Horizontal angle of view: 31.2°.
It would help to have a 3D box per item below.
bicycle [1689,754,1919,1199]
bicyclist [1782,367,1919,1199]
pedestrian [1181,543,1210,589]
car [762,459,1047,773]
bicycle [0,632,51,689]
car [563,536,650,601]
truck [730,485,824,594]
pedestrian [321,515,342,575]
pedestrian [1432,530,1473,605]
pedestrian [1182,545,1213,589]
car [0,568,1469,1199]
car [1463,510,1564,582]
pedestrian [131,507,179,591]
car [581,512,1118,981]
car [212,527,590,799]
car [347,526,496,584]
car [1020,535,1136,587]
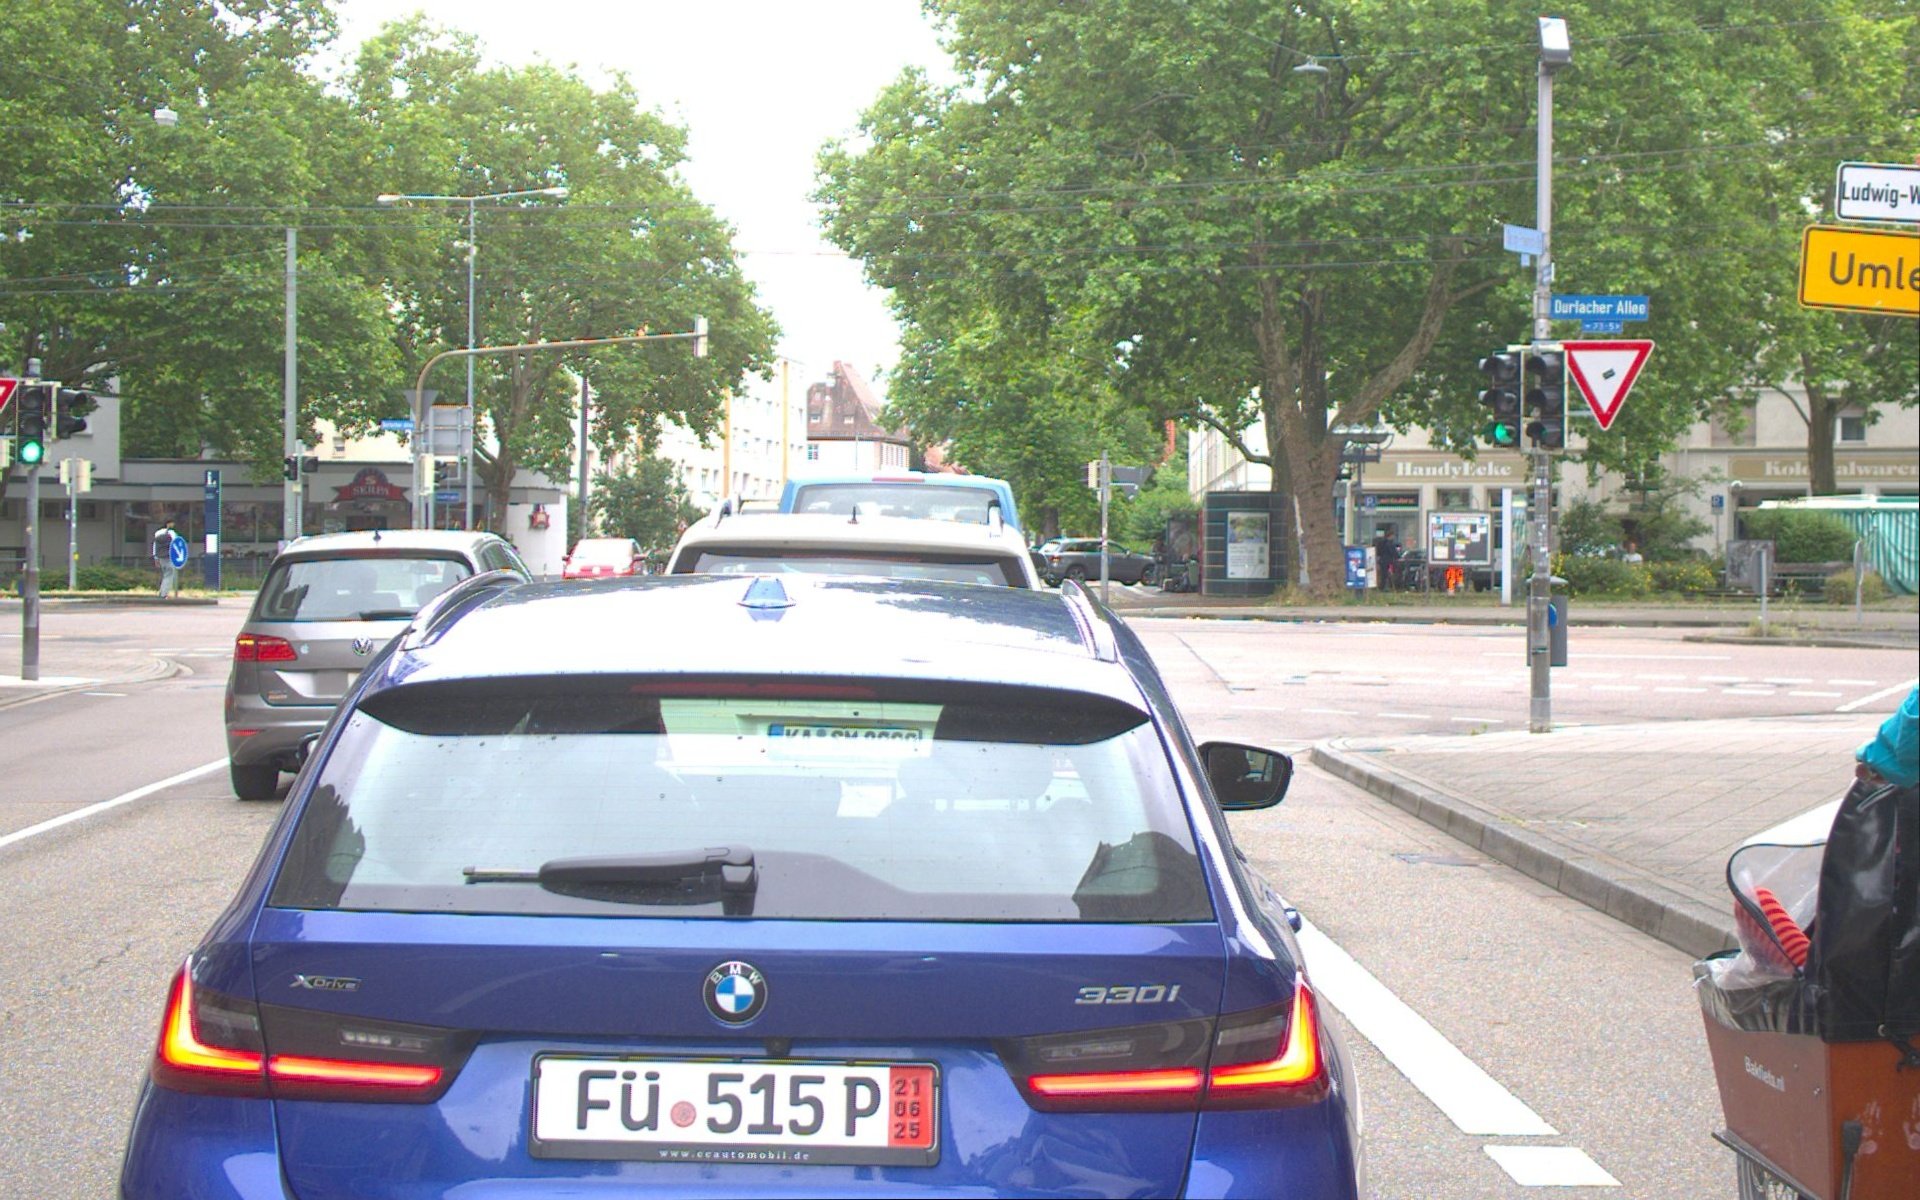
[{"bbox_3d":[1.714,0.878,5.786,0.494,1.094,2.139,0,1,-1],"label":"bicycle"},{"bbox_3d":[1.804,0.396,5.536,0.686,1.512,1.058,0,1,-1],"label":"bicyclist"},{"bbox_3d":[7.134,-1.025,103.998,0.817,1.367,0.763,0,1,0],"label":"pedestrian"},{"bbox_3d":[-0.376,0.060,23.904,1.815,1.998,4.000,0,1,-1],"label":"car"},{"bbox_3d":[-9.913,0.512,33.399,1.886,0.443,1.029,6,2,-2],"label":"bicycle"},{"bbox_3d":[-8.011,-0.729,78.063,1.649,1.442,3.511,0,1,-1],"label":"car"},{"bbox_3d":[-4.183,-1.407,79.033,2.074,2.400,5.463,0,1,-2],"label":"truck"},{"bbox_3d":[-18.535,-1.636,101.386,0.571,1.765,0.515,0,1,-13],"label":"pedestrian"},{"bbox_3d":[11.464,-0.768,80.042,0.784,1.737,0.925,0,1,-2],"label":"pedestrian"},{"bbox_3d":[7.116,-0.978,103.098,0.853,1.310,0.763,0,1,0],"label":"pedestrian"},{"bbox_3d":[-0.315,0.670,6.343,1.815,1.400,4.320,0,1,-1],"label":"car"},{"bbox_3d":[17.314,-1.694,107.396,2.177,2.193,3.995,1,1,24],"label":"car"},{"bbox_3d":[-16.861,-1.071,72.026,0.676,1.765,0.724,1,1,41],"label":"pedestrian"},{"bbox_3d":[-0.398,0.454,13.641,1.815,1.586,4.000,0,1,-1],"label":"car"},{"bbox_3d":[-3.356,0.313,21.304,1.732,1.519,4.000,0,1,-1],"label":"car"},{"bbox_3d":[-16.353,-1.371,104.518,3.987,1.700,2.000,0,1,-34],"label":"car"},{"bbox_3d":[3.967,-1.318,115.821,3.883,1.735,1.761,0,1,2],"label":"car"}]
